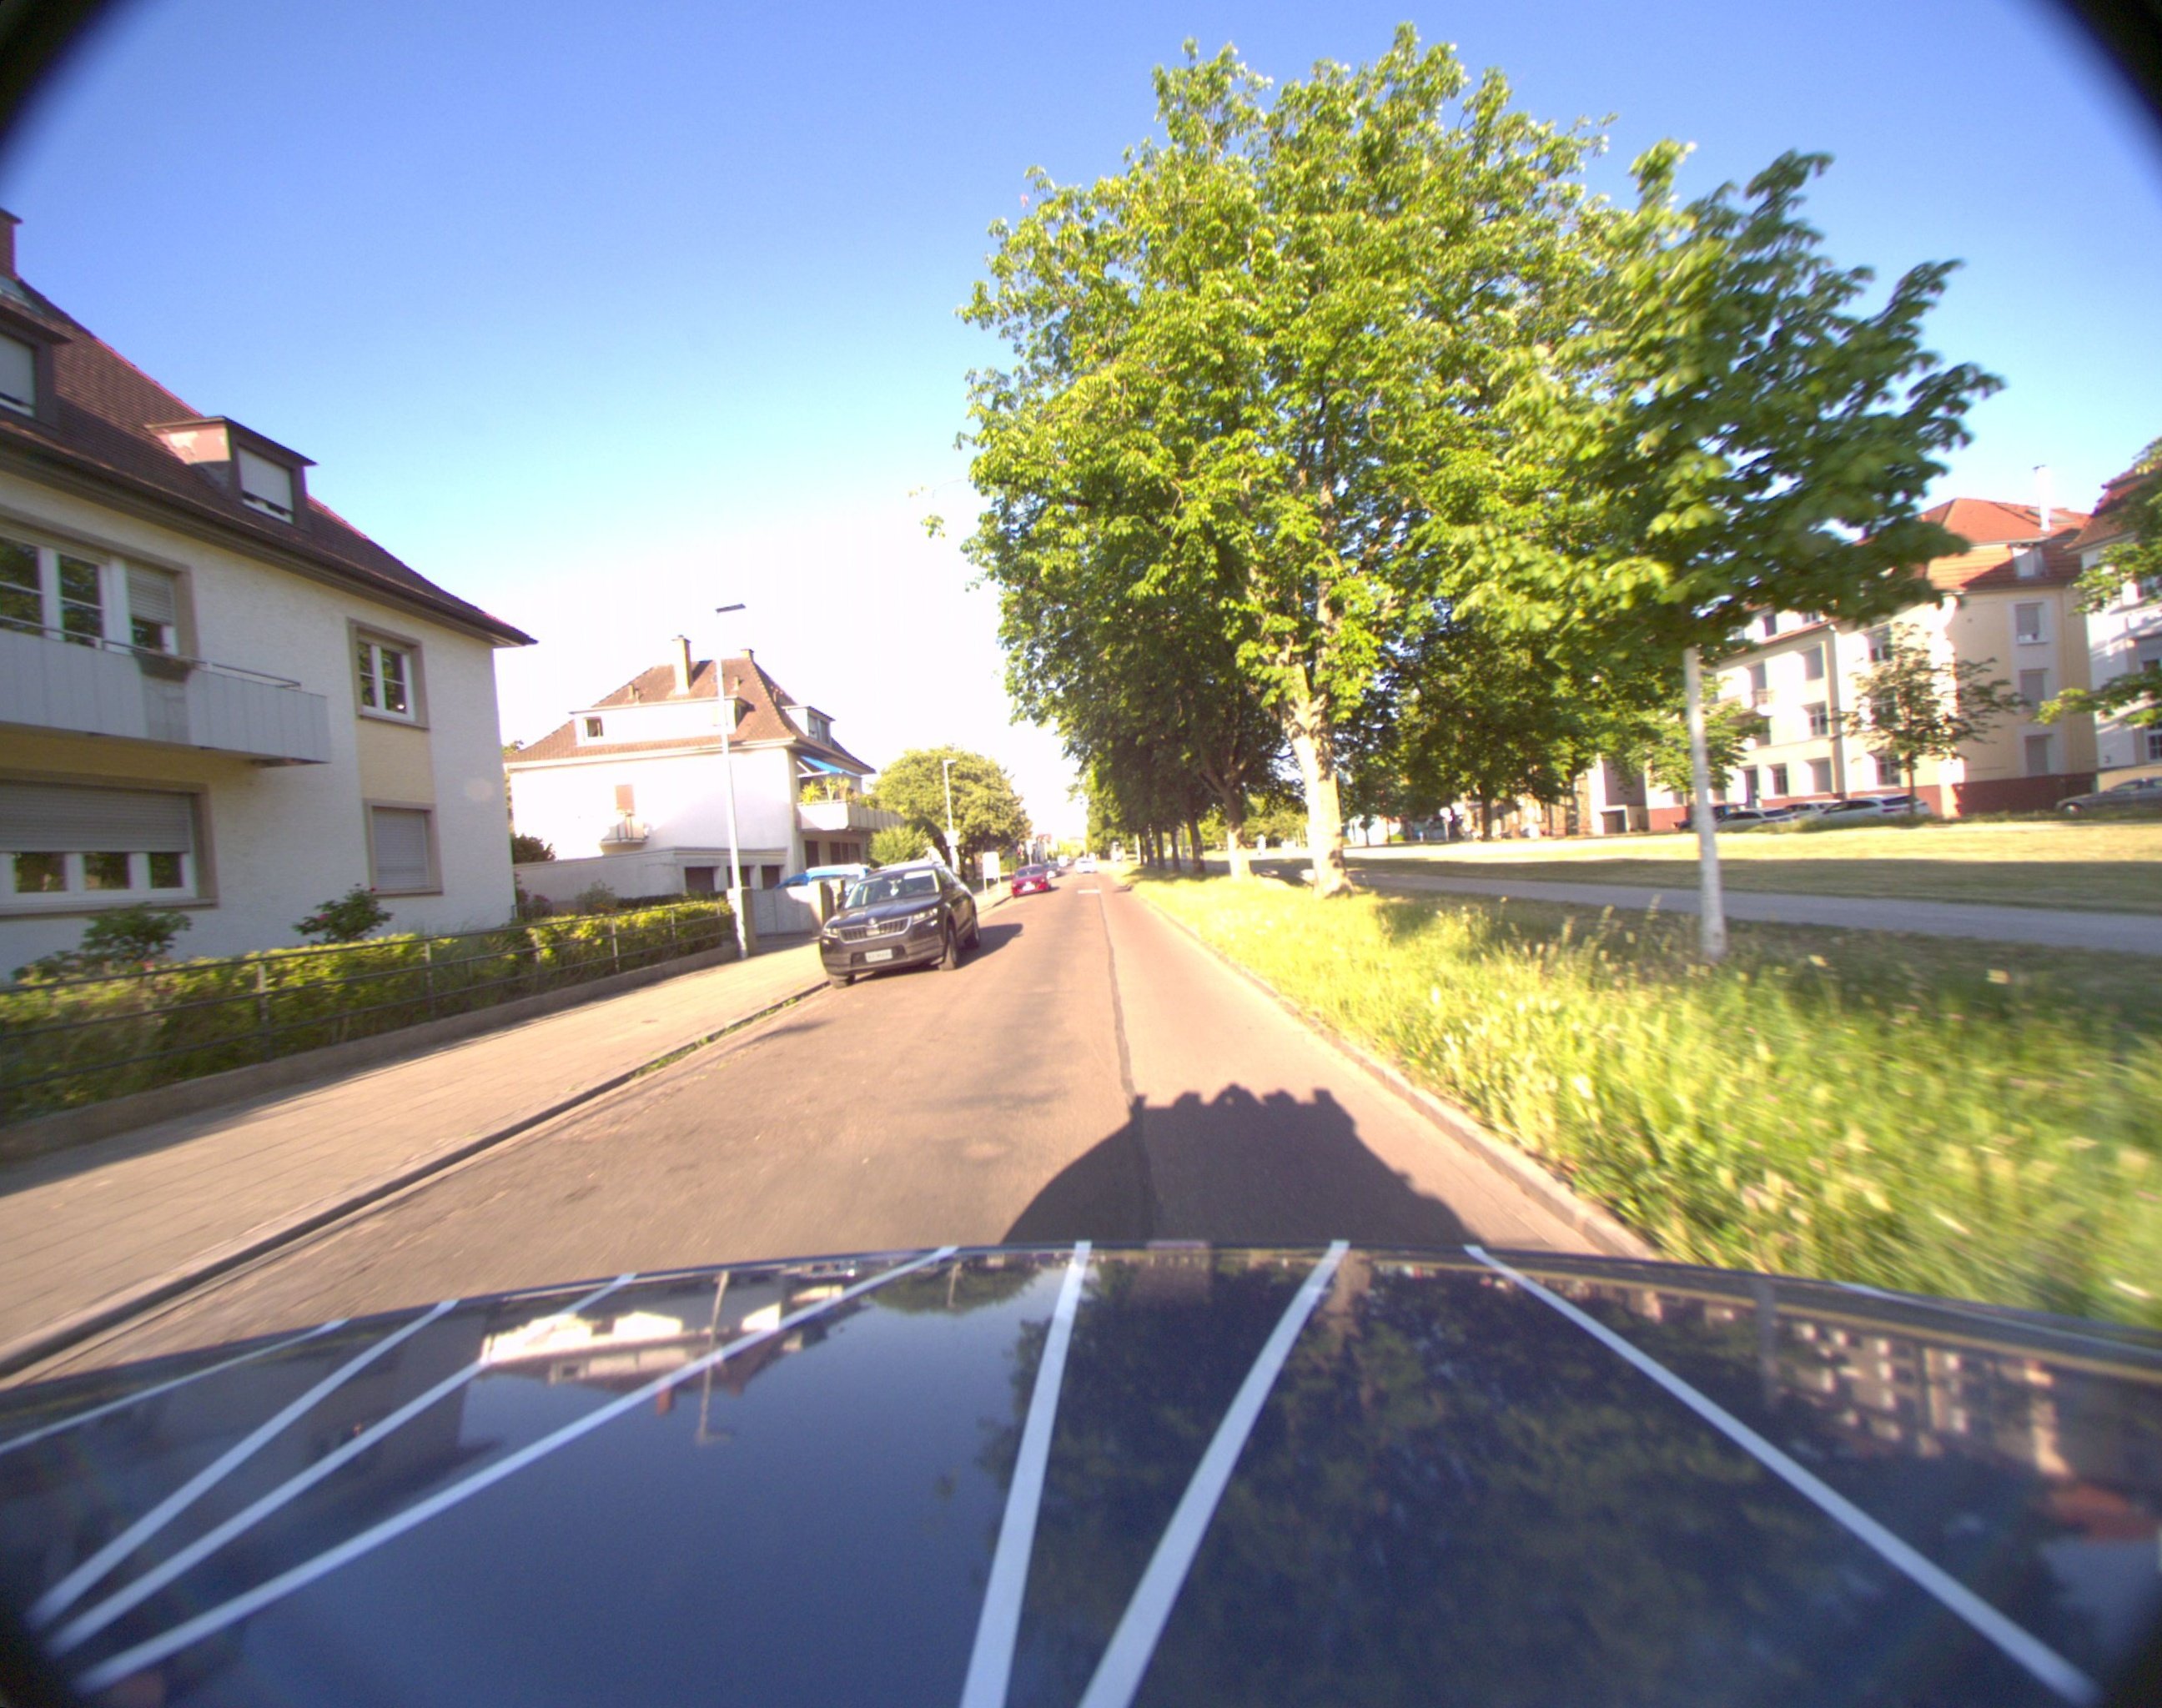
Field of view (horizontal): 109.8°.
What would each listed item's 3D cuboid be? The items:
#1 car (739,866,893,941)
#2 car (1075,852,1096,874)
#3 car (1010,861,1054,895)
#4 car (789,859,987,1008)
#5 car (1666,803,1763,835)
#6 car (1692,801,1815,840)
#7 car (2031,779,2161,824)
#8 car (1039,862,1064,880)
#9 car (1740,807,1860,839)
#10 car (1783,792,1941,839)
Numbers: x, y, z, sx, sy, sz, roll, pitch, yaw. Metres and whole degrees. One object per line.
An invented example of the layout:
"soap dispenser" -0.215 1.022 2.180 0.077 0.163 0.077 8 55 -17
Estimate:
"car" -8.188 1.492 23.814 3.998 1.916 2.000 -4 0 -2
"car" 0.496 0.925 78.381 1.998 2.002 4.000 -5 0 1
"car" -2.428 1.169 38.445 1.824 1.486 4.224 -4 0 0
"car" -2.856 1.074 12.394 1.862 1.710 4.467 -9 0 -1
"car" 40.636 -2.221 48.890 1.999 1.680 4.875 -4 0 -1
"car" 34.523 -1.664 39.226 1.998 1.680 4.876 -4 0 1
"car" 40.066 -2.059 28.748 1.999 1.445 4.875 -4 0 -1
"car" -2.766 1.576 72.375 1.998 1.575 4.347 -2 0 1
"car" 40.240 -1.703 42.744 1.999 1.445 4.875 -4 0 -1
"car" 34.455 -1.644 33.765 1.998 1.680 4.876 -4 0 1
